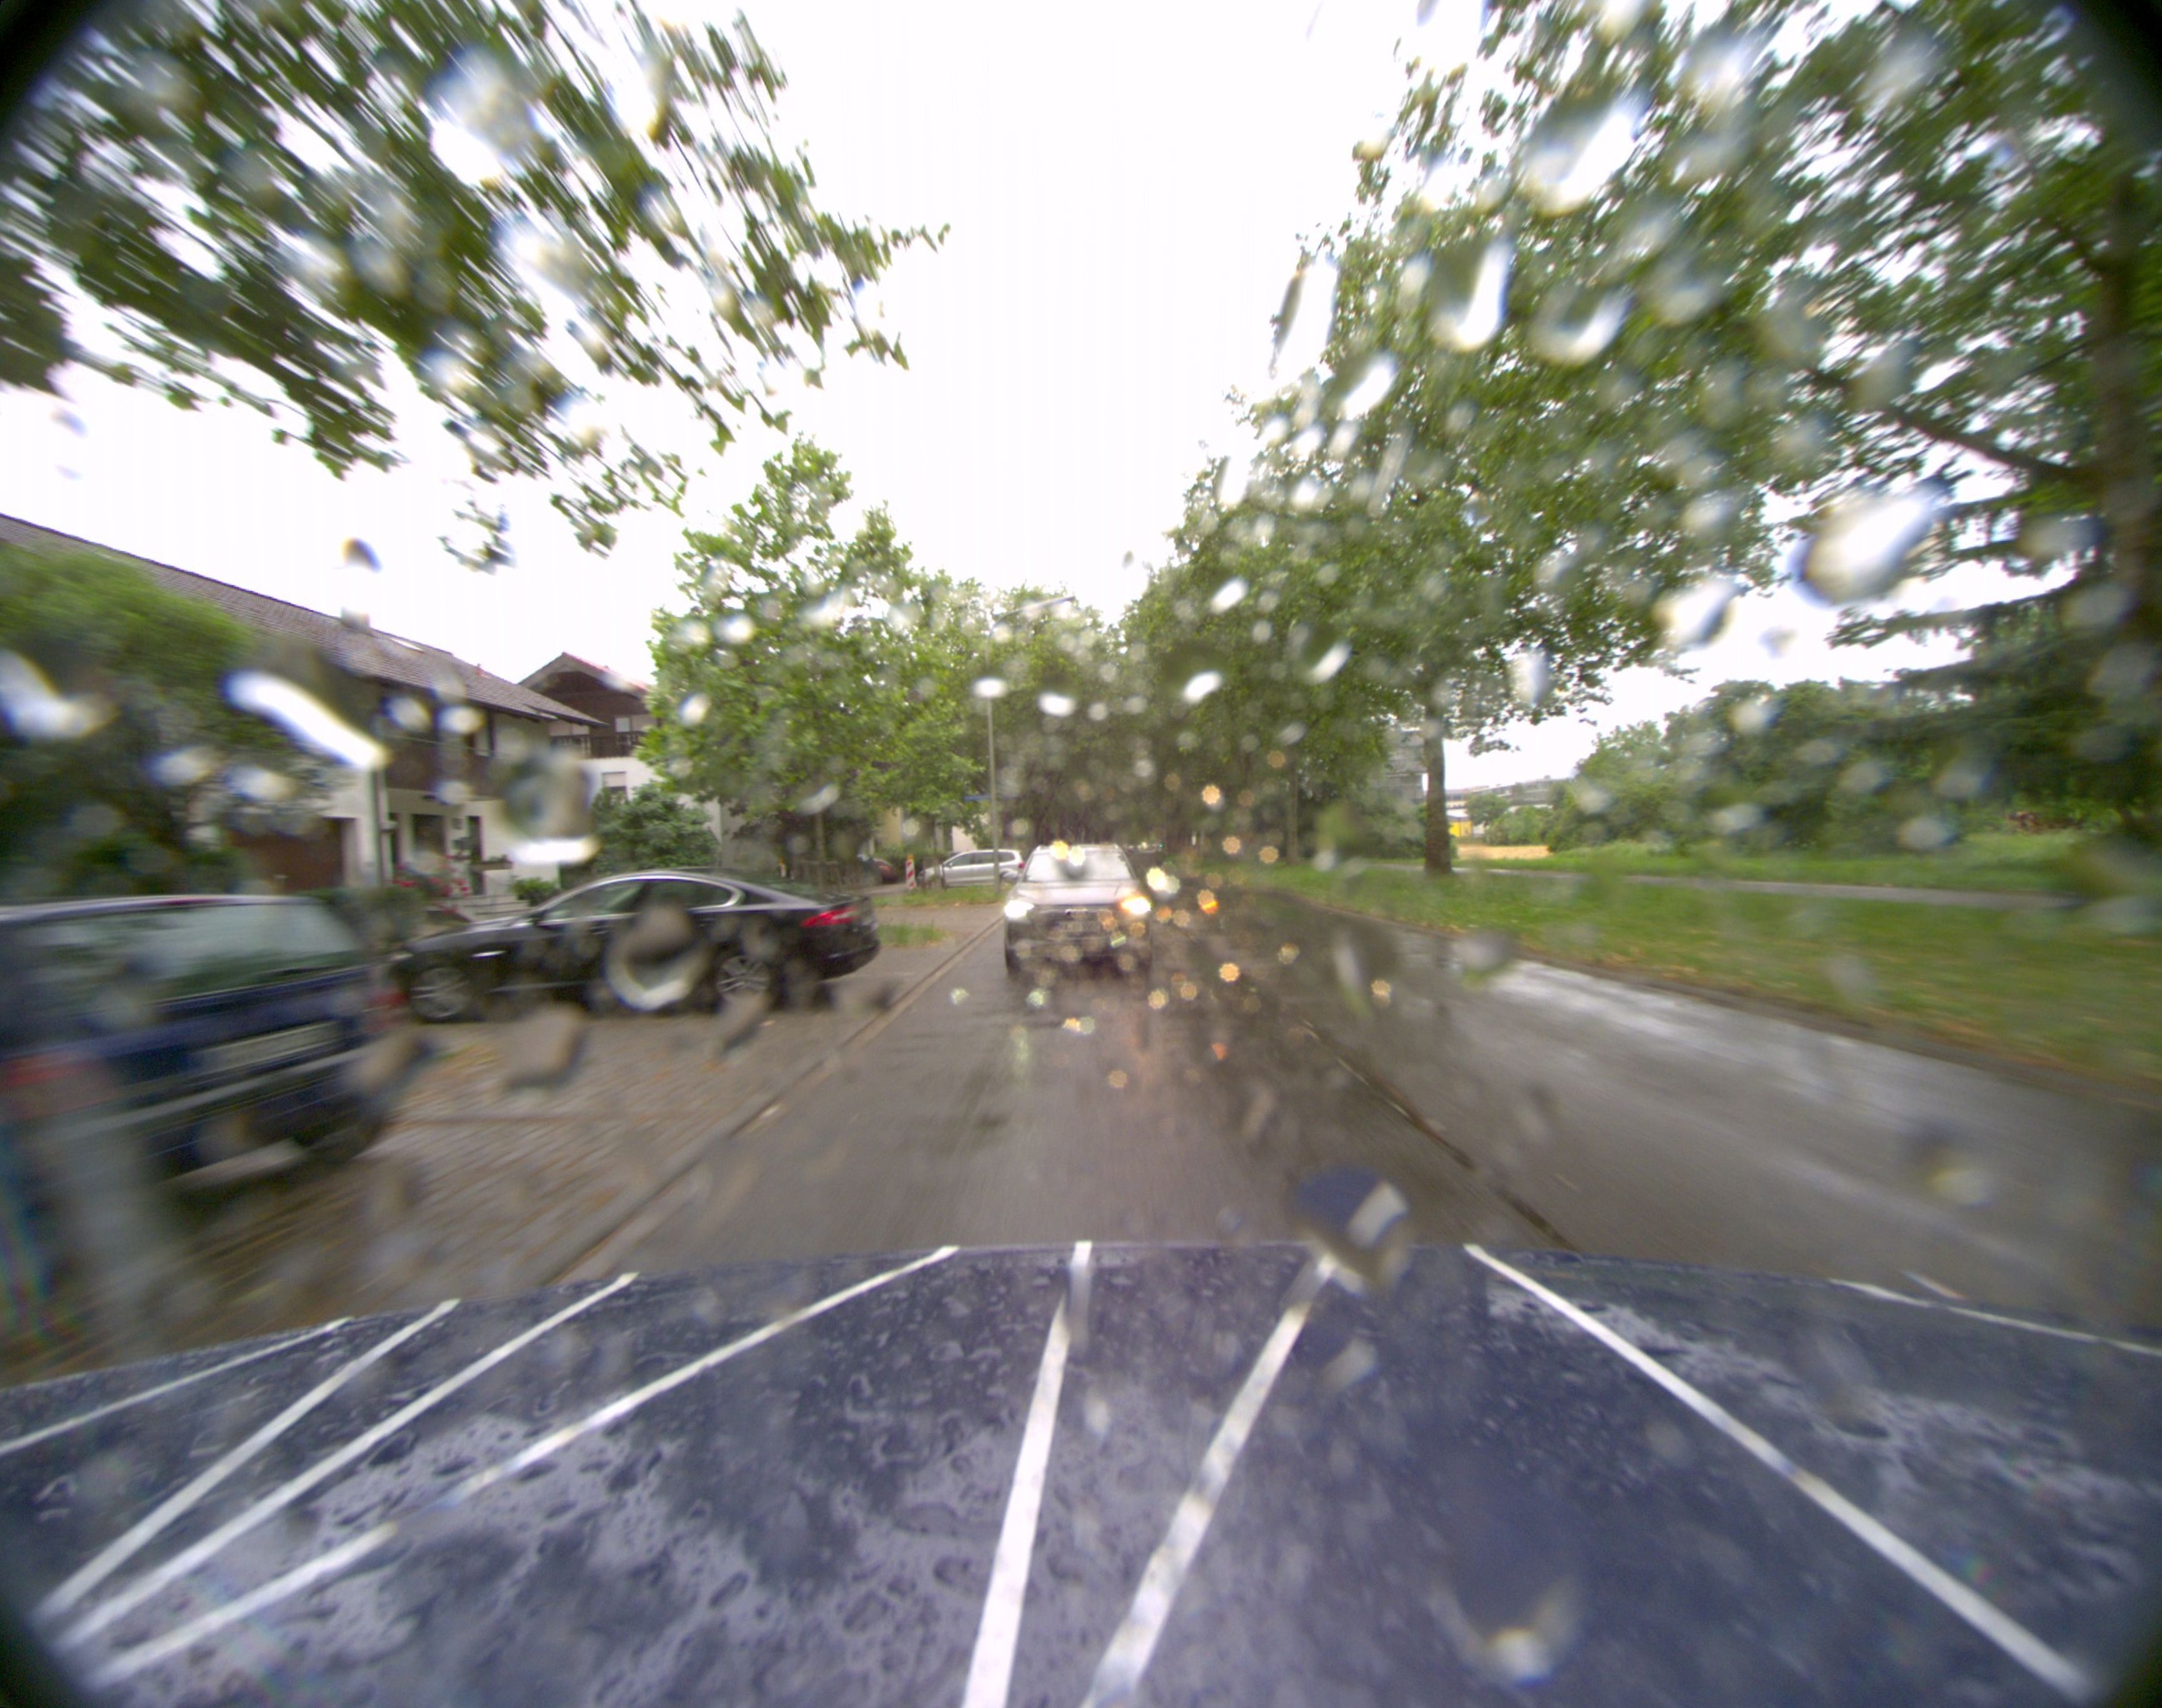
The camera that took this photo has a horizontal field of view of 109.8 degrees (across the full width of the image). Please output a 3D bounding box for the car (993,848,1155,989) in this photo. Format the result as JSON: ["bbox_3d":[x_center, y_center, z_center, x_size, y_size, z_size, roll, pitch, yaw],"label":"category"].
[{"bbox_3d":[-0.023,0.755,11.207,1.862,1.608,4.423,-2,0,1],"label":"car"}]

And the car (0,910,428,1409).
[{"bbox_3d":[-5.132,1.091,3.155,3.364,1.455,1.618,-2,1,0],"label":"car"}]

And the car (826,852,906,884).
[{"bbox_3d":[-12.031,0.756,42.621,3.853,1.603,1.843,-2,1,3],"label":"car"}]

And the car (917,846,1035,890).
[{"bbox_3d":[-4.400,0.568,32.454,4.701,1.651,1.976,-2,1,-1],"label":"car"}]

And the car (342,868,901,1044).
[{"bbox_3d":[-4.574,0.979,8.238,4.779,1.464,1.937,-2,1,-3],"label":"car"}]
